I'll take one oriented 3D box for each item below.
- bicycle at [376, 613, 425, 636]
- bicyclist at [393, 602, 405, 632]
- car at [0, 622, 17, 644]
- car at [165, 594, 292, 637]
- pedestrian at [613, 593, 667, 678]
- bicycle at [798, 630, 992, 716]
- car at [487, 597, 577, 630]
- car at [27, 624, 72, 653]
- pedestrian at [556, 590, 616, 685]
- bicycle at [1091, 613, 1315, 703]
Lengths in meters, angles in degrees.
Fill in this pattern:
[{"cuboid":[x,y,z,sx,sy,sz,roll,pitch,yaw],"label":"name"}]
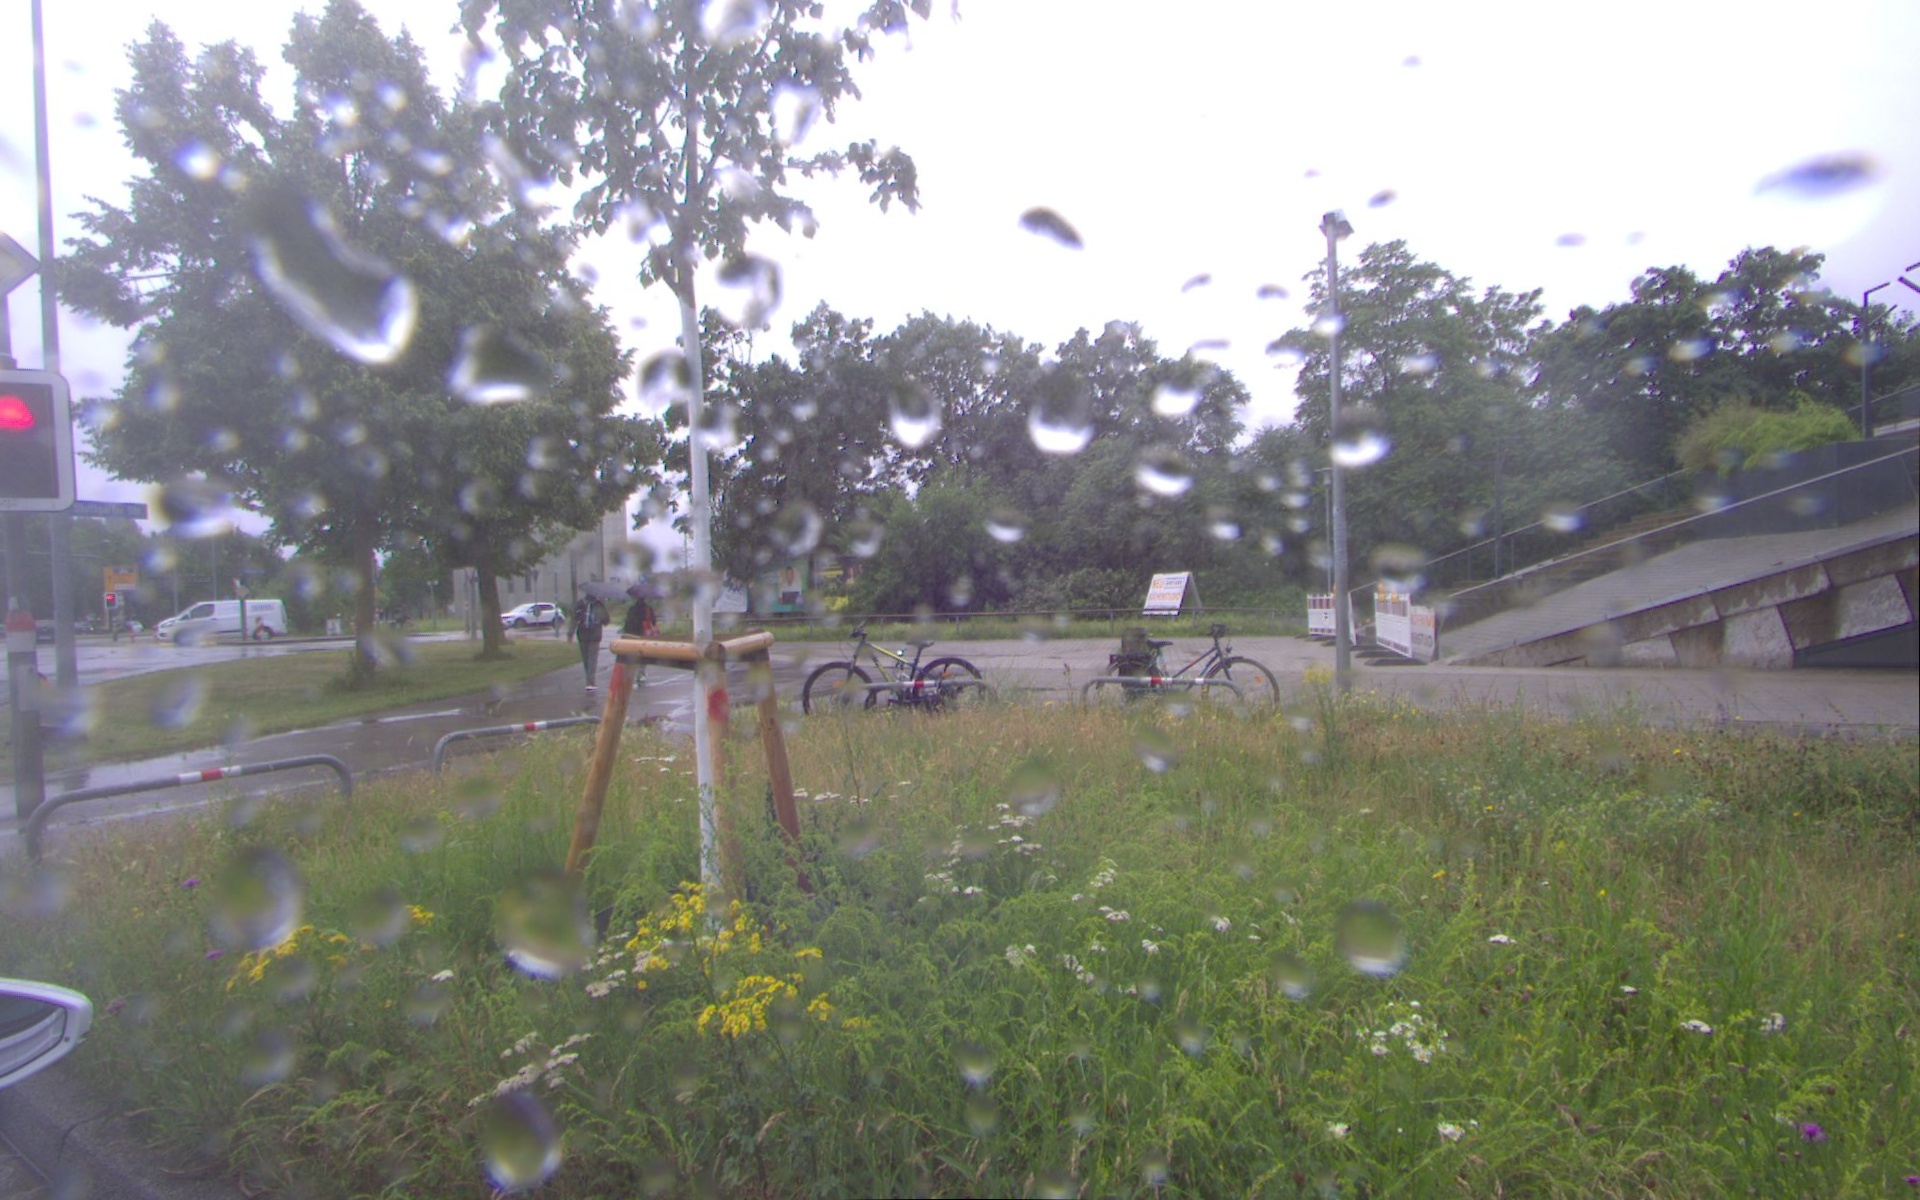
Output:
[{"cuboid":[-32.721,1.444,58.640,2.472,1.330,0.569,1,-2,-28],"label":"bicycle"},{"cuboid":[-32.798,1.011,58.582,0.582,1.764,0.494,0,-2,-27],"label":"bicyclist"},{"cuboid":[-76.846,2.628,79.208,1.771,1.683,3.993,0,-2,-19],"label":"car"},{"cuboid":[-34.317,0.770,47.070,4.720,1.874,1.985,1,-3,-38],"label":"car"},{"cuboid":[-5.776,0.637,18.081,0.564,1.480,0.679,-1,1,28],"label":"pedestrian"},{"cuboid":[-0.620,0.695,9.677,1.823,0.797,0.380,0,-2,-2],"label":"bicycle"},{"cuboid":[-25.317,0.785,59.427,1.969,1.876,4.756,-1,0,27],"label":"car"},{"cuboid":[-49.931,2.078,54.889,3.947,1.473,1.608,-1,0,45],"label":"car"},{"cuboid":[-6.235,0.618,16.699,0.730,1.542,0.620,-1,-1,31],"label":"pedestrian"},{"cuboid":[2.239,0.538,9.318,1.972,0.796,0.454,-1,-2,16],"label":"bicycle"}]
